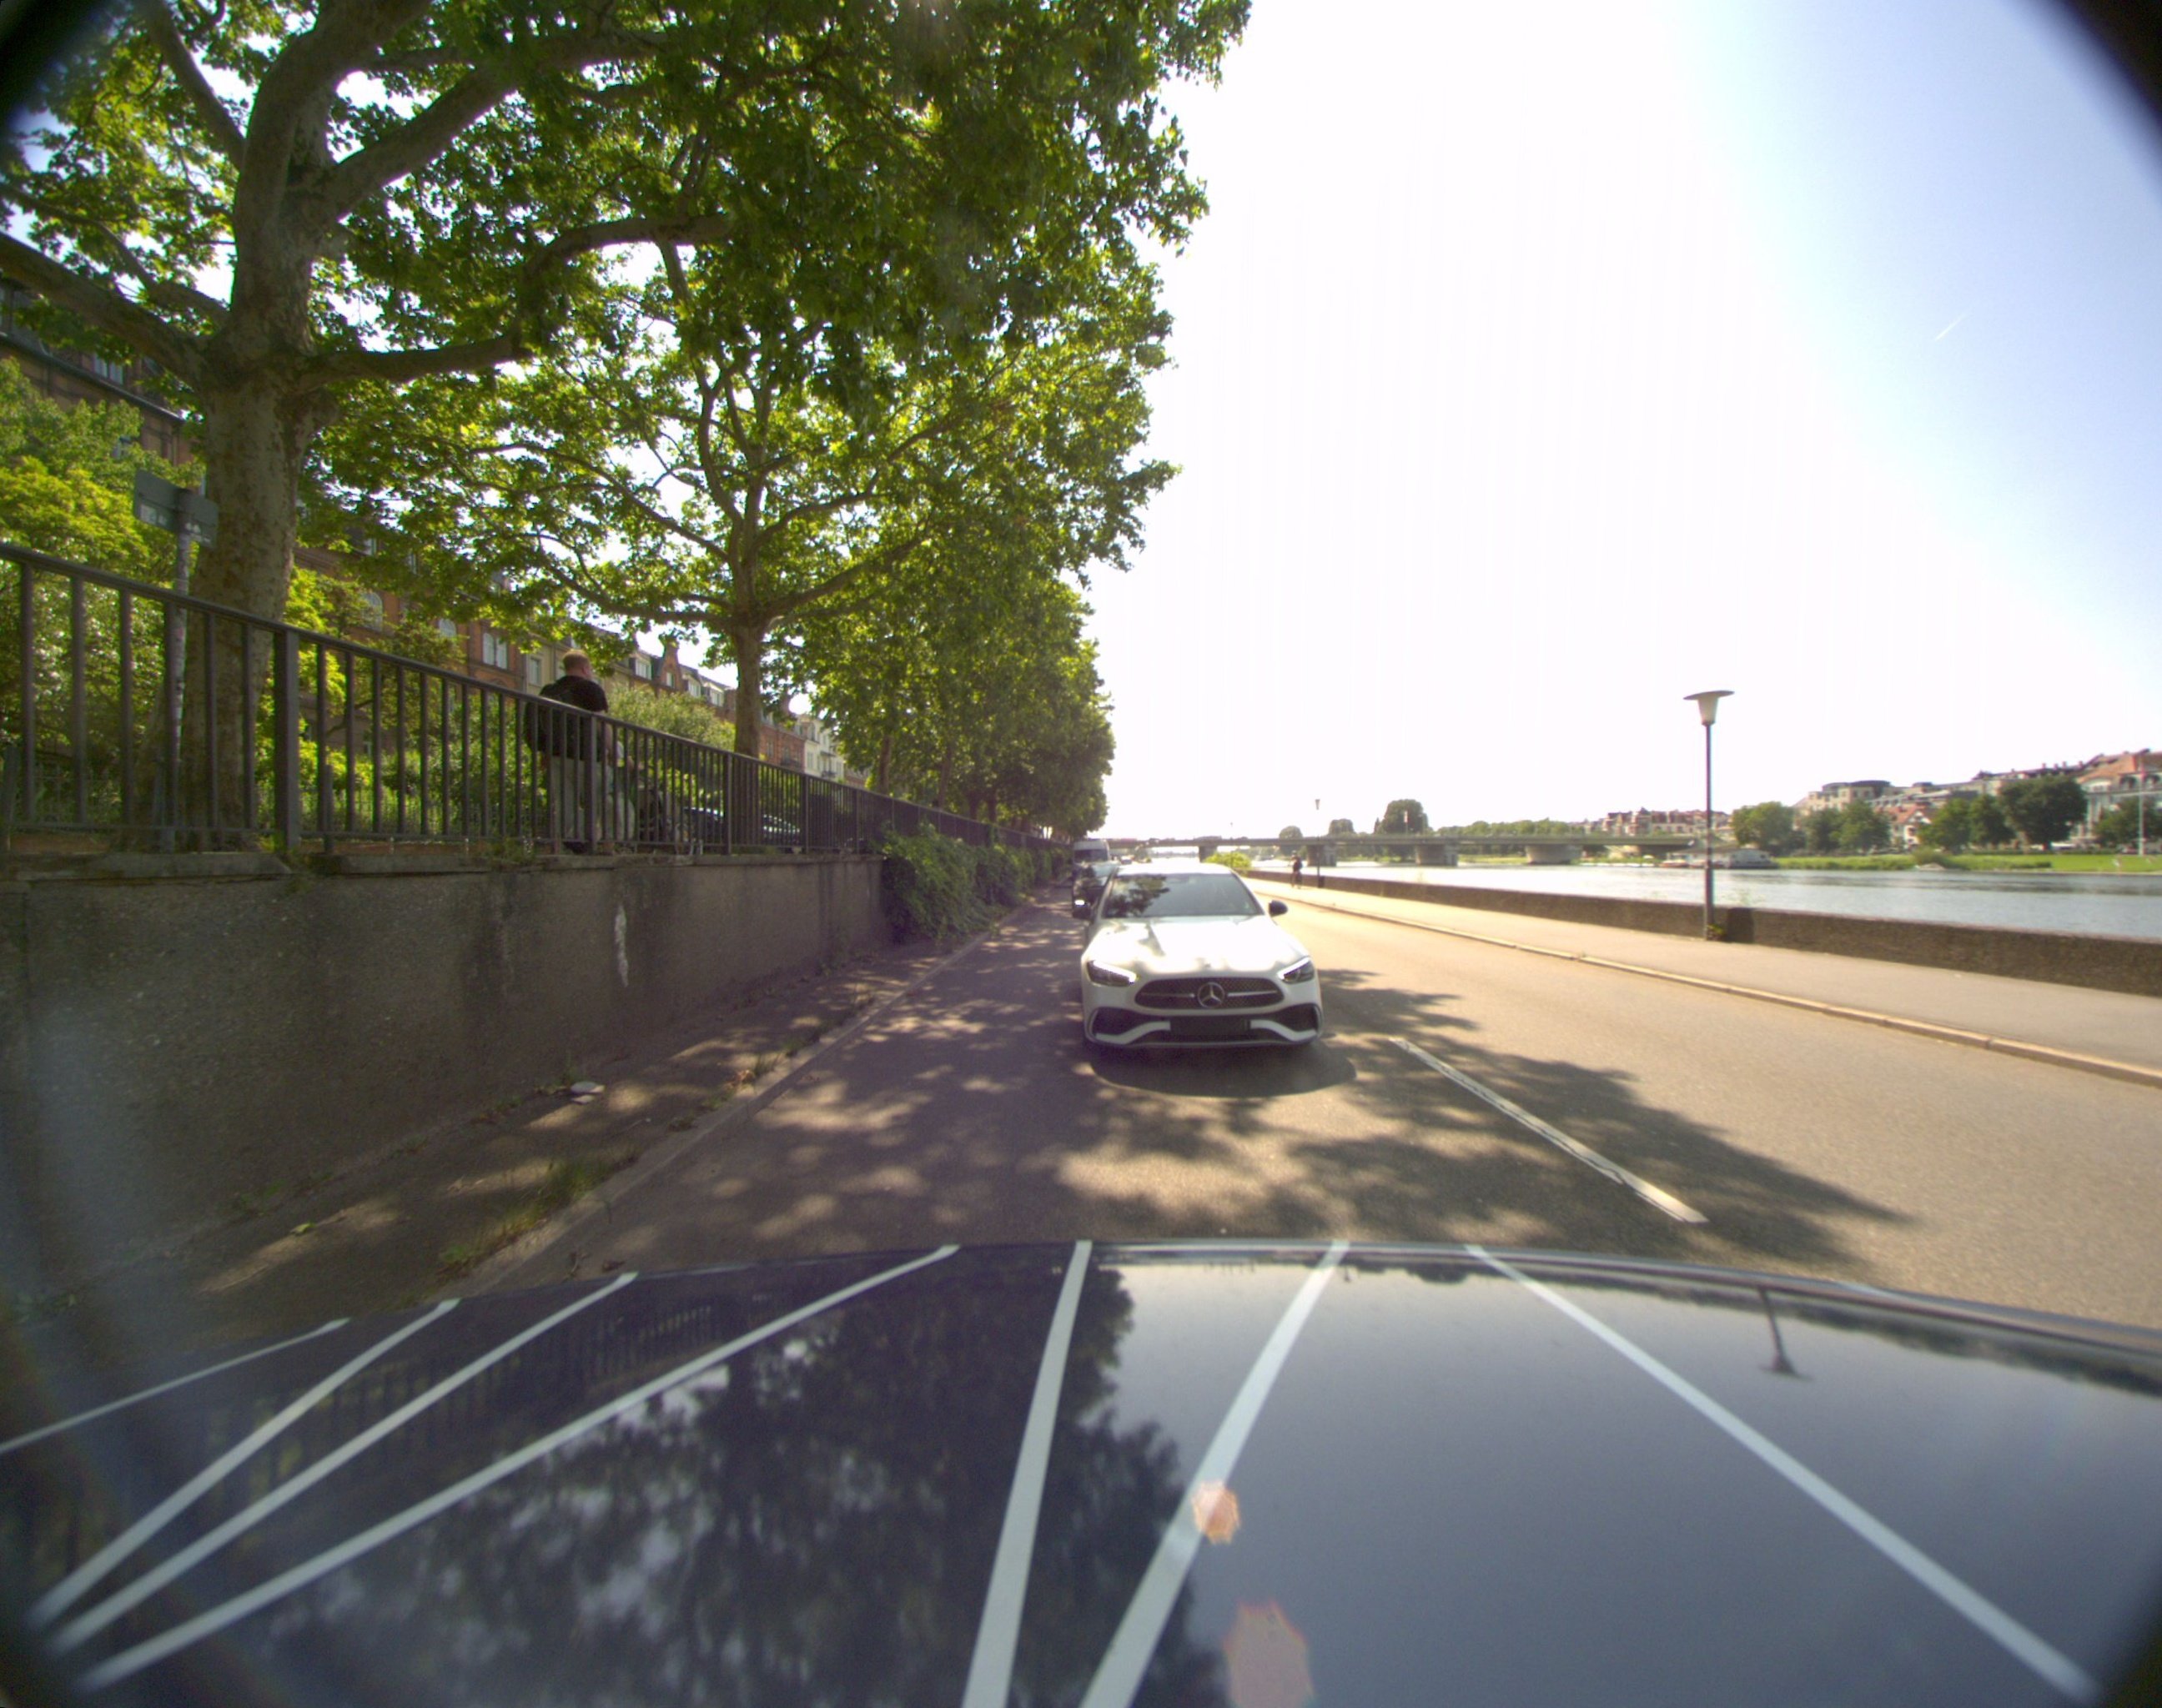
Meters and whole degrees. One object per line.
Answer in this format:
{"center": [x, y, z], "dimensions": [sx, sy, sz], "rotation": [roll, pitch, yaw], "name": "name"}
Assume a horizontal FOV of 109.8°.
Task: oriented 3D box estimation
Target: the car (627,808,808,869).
{"center": [-8.363, -0.355, 17.580], "dimensions": [3.528, 1.228, 1.516], "rotation": [2, 0, 11], "name": "car"}

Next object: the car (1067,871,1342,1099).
{"center": [0.896, 0.947, 7.450], "dimensions": [1.830, 1.411, 4.552], "rotation": [-2, 0, 1], "name": "car"}

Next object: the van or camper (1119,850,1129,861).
{"center": [9.720, 0.287, 173.176], "dimensions": [2.082, 2.384, 5.385], "rotation": [1, 0, 1], "name": "van or camper"}

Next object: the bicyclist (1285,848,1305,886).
{"center": [9.590, 0.572, 34.055], "dimensions": [0.639, 1.664, 0.871], "rotation": [0, 1, 0], "name": "bicyclist"}

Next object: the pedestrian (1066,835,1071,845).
{"center": [-1.904, -2.193, 116.937], "dimensions": [0.666, 1.582, 0.765], "rotation": [0, 1, 1], "name": "pedestrian"}

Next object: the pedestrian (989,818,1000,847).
{"center": [-4.893, -1.198, 42.981], "dimensions": [0.649, 1.630, 0.626], "rotation": [0, 1, -7], "name": "pedestrian"}

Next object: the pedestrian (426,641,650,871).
{"center": [-4.083, -0.682, 5.820], "dimensions": [0.939, 1.570, 1.028], "rotation": [2, 0, -1], "name": "pedestrian"}

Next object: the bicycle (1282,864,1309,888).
{"center": [9.586, 0.985, 34.030], "dimensions": [0.634, 1.006, 1.986], "rotation": [0, 0, 0], "name": "bicycle"}

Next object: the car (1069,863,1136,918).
{"center": [0.585, 1.001, 22.742], "dimensions": [1.756, 1.385, 4.619], "rotation": [-1, 0, 0], "name": "car"}

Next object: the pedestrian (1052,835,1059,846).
{"center": [-2.869, -1.462, 84.680], "dimensions": [0.713, 1.236, 0.742], "rotation": [0, 1, 1], "name": "pedestrian"}

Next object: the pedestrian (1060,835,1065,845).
{"center": [-2.917, -2.121, 116.939], "dimensions": [0.738, 1.582, 0.811], "rotation": [0, 1, 1], "name": "pedestrian"}

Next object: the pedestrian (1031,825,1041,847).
{"center": [-3.204, -1.280, 54.580], "dimensions": [0.666, 1.582, 0.651], "rotation": [0, 1, 1], "name": "pedestrian"}

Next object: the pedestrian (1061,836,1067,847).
{"center": [-2.403, -1.725, 108.235], "dimensions": [0.738, 1.582, 0.811], "rotation": [0, 1, 1], "name": "pedestrian"}

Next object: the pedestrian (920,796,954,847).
{"center": [-3.988, -0.890, 21.129], "dimensions": [0.755, 1.358, 0.814], "rotation": [2, 0, -1], "name": "pedestrian"}

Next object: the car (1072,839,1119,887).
{"center": [0.737, 0.440, 41.373], "dimensions": [2.351, 2.428, 6.208], "rotation": [0, 0, 0], "name": "car"}

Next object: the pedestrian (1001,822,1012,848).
{"center": [-4.229, -1.076, 43.102], "dimensions": [0.586, 1.411, 0.589], "rotation": [0, 1, -7], "name": "pedestrian"}

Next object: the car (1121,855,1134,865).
{"center": [6.765, 0.842, 110.922], "dimensions": [1.736, 1.433, 4.045], "rotation": [1, 0, 0], "name": "car"}

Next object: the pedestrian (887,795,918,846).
{"center": [-5.003, -0.931, 21.314], "dimensions": [0.645, 1.358, 0.794], "rotation": [2, 0, -1], "name": "pedestrian"}

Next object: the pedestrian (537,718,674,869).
{"center": [-4.623, -0.550, 7.457], "dimensions": [0.682, 1.358, 0.989], "rotation": [2, 0, 0], "name": "pedestrian"}

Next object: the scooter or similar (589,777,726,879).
{"center": [-4.629, -0.273, 8.393], "dimensions": [0.857, 1.020, 1.107], "rotation": [2, 0, 0], "name": "scooter or similar"}
